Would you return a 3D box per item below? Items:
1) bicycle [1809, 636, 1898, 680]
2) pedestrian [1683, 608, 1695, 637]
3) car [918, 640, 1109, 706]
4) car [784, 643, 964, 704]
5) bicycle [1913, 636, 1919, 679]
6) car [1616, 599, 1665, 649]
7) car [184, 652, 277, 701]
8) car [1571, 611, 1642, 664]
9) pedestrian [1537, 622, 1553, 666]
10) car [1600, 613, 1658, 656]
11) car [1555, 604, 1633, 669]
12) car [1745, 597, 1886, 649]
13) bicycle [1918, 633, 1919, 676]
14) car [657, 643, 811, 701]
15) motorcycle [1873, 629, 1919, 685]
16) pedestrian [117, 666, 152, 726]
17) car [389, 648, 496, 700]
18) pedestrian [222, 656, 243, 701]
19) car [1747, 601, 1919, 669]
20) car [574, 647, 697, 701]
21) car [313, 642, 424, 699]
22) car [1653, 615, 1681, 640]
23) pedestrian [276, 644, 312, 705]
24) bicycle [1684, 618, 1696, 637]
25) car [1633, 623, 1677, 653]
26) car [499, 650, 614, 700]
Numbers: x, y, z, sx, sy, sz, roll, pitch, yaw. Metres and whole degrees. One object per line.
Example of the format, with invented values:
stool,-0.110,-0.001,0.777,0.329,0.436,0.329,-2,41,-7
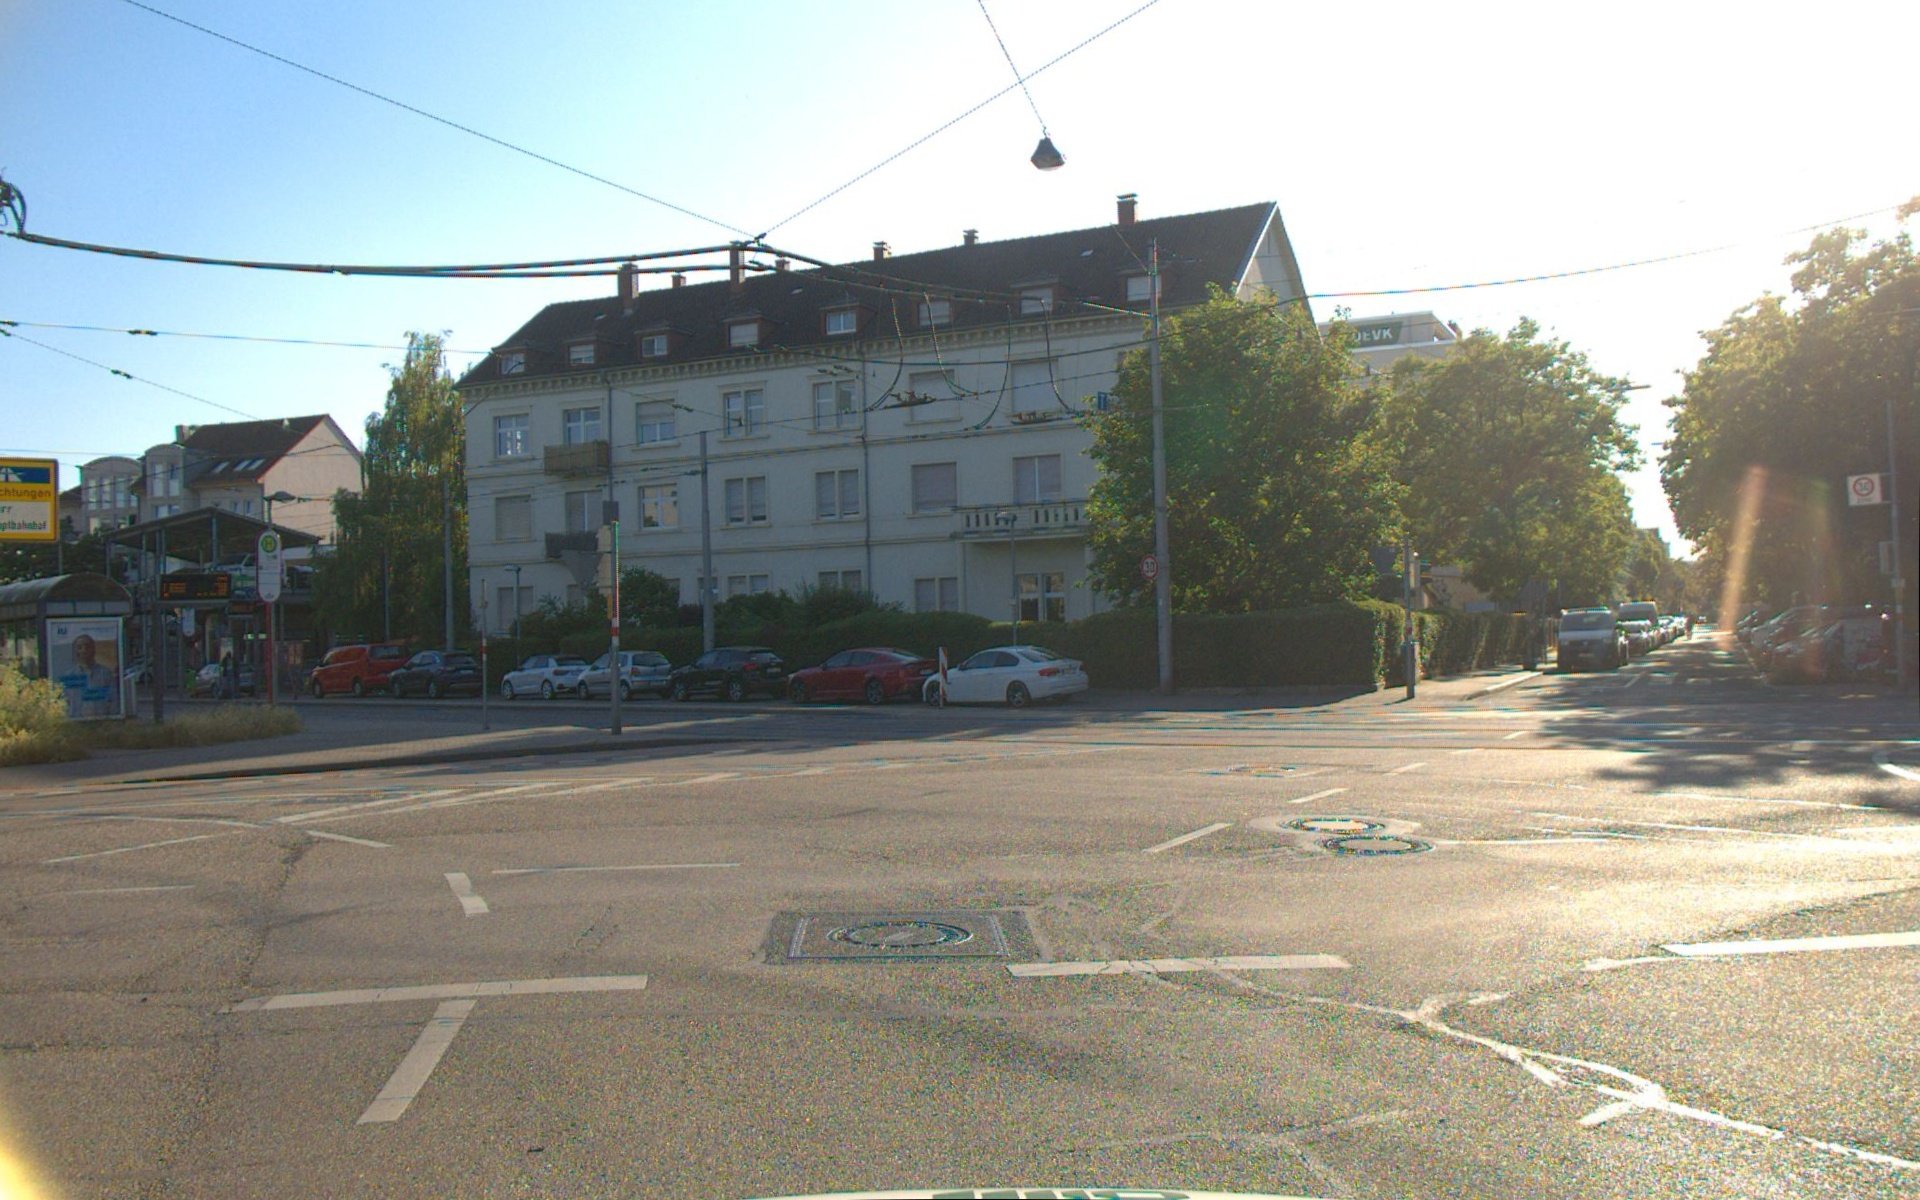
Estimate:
bicycle,20.096,1.303,37.227,1.689,0.949,0.672,-2,-2,24
pedestrian,53.047,1.638,120.324,0.722,2.049,0.742,-2,-2,26
car,1.244,1.755,40.014,4.418,1.400,1.919,-3,0,43
car,-2.319,1.939,43.695,4.617,1.400,1.977,-3,0,40
bicycle,22.109,1.255,36.578,1.689,0.949,0.561,-2,-2,25
car,36.795,1.325,89.547,2.306,2.559,5.309,-2,-2,21
car,-32.723,3.436,74.116,5.064,1.996,2.042,-3,0,45
car,23.978,1.378,61.346,2.306,1.826,5.309,-2,-2,21
pedestrian,23.666,1.774,66.948,0.567,1.761,0.608,-2,-2,19
car,30.320,1.566,75.055,2.306,1.826,5.309,-2,-2,21
car,21.369,1.213,55.717,2.306,2.049,5.309,-2,-2,21
car,35.914,0.986,69.623,4.986,1.958,2.362,-2,-3,22
bicycle,21.799,1.174,35.876,1.689,0.949,0.561,-2,-2,25
car,-6.575,2.083,47.830,4.626,1.472,1.973,-3,0,45
motorcycle,20.428,1.183,34.861,1.911,1.129,0.837,-2,-2,19
pedestrian,-20.240,2.354,40.568,0.496,1.452,0.595,-3,-2,37
car,-18.609,2.649,59.341,4.296,1.697,1.832,-3,0,45
pedestrian,-25.575,2.753,58.128,0.561,1.527,0.671,-1,-2,-33
car,27.686,1.114,51.517,5.505,1.958,2.362,-2,-3,22
car,-9.980,2.249,50.774,3.656,1.472,1.973,-3,0,45
car,-22.926,2.706,64.007,5.064,1.996,2.042,-3,0,45
car,55.003,2.141,128.785,1.953,1.718,3.998,1,-2,23
pedestrian,-23.037,2.565,57.215,0.916,2.049,0.757,0,-2,-41
bicycle,53.110,2.011,120.319,0.751,1.347,1.922,-2,-2,24
car,43.691,2.374,103.888,2.308,1.826,5.306,-2,-2,25
car,-13.187,2.441,53.983,3.892,1.472,1.832,-3,0,45
